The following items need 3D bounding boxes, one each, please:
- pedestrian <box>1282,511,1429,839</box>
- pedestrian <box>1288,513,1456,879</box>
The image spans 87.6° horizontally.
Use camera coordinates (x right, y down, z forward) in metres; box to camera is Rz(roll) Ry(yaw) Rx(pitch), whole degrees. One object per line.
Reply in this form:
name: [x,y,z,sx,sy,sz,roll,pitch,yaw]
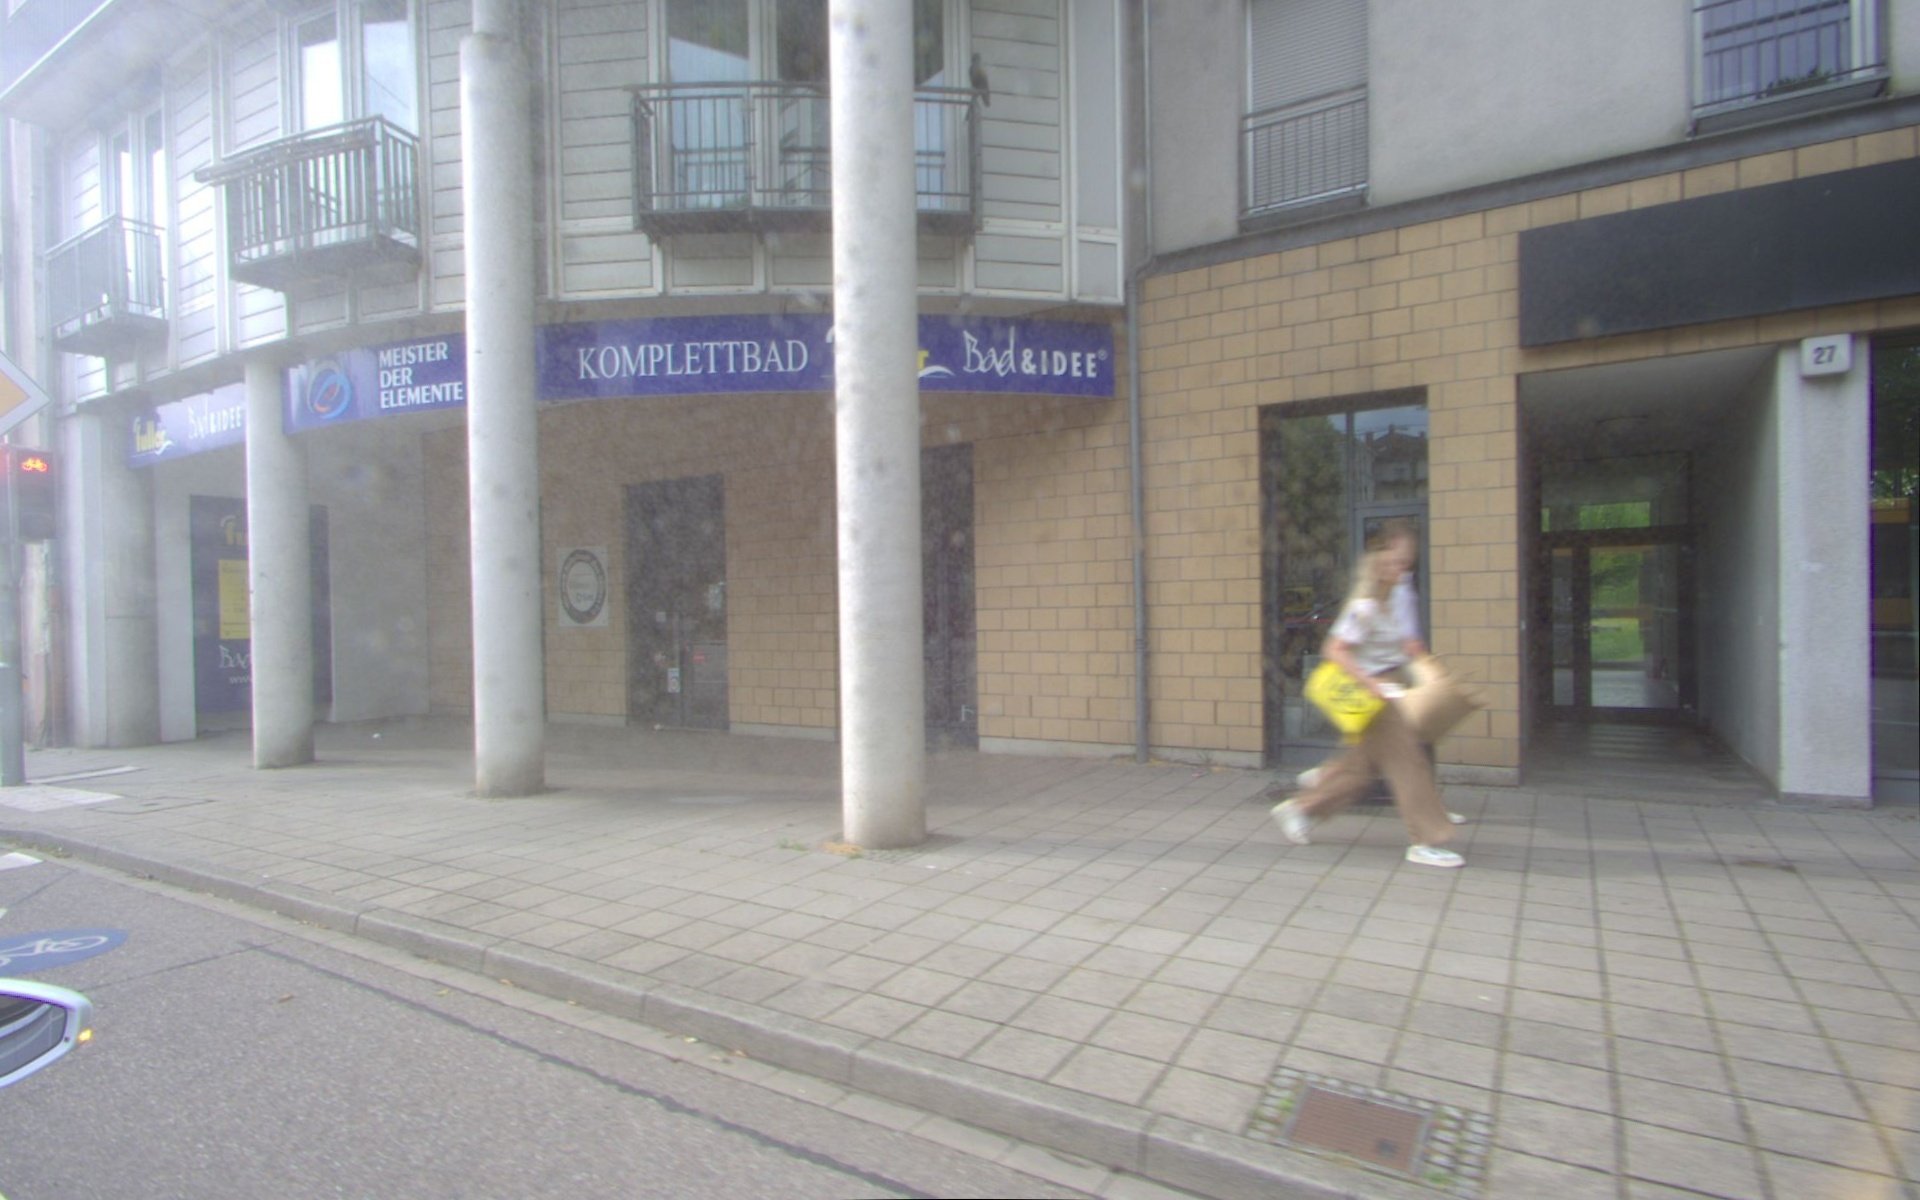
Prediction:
pedestrian: [2.504,0.443,6.325,0.727,1.916,0.673,-1,1,33]
pedestrian: [2.252,0.487,5.464,0.727,1.829,0.614,-1,1,33]
